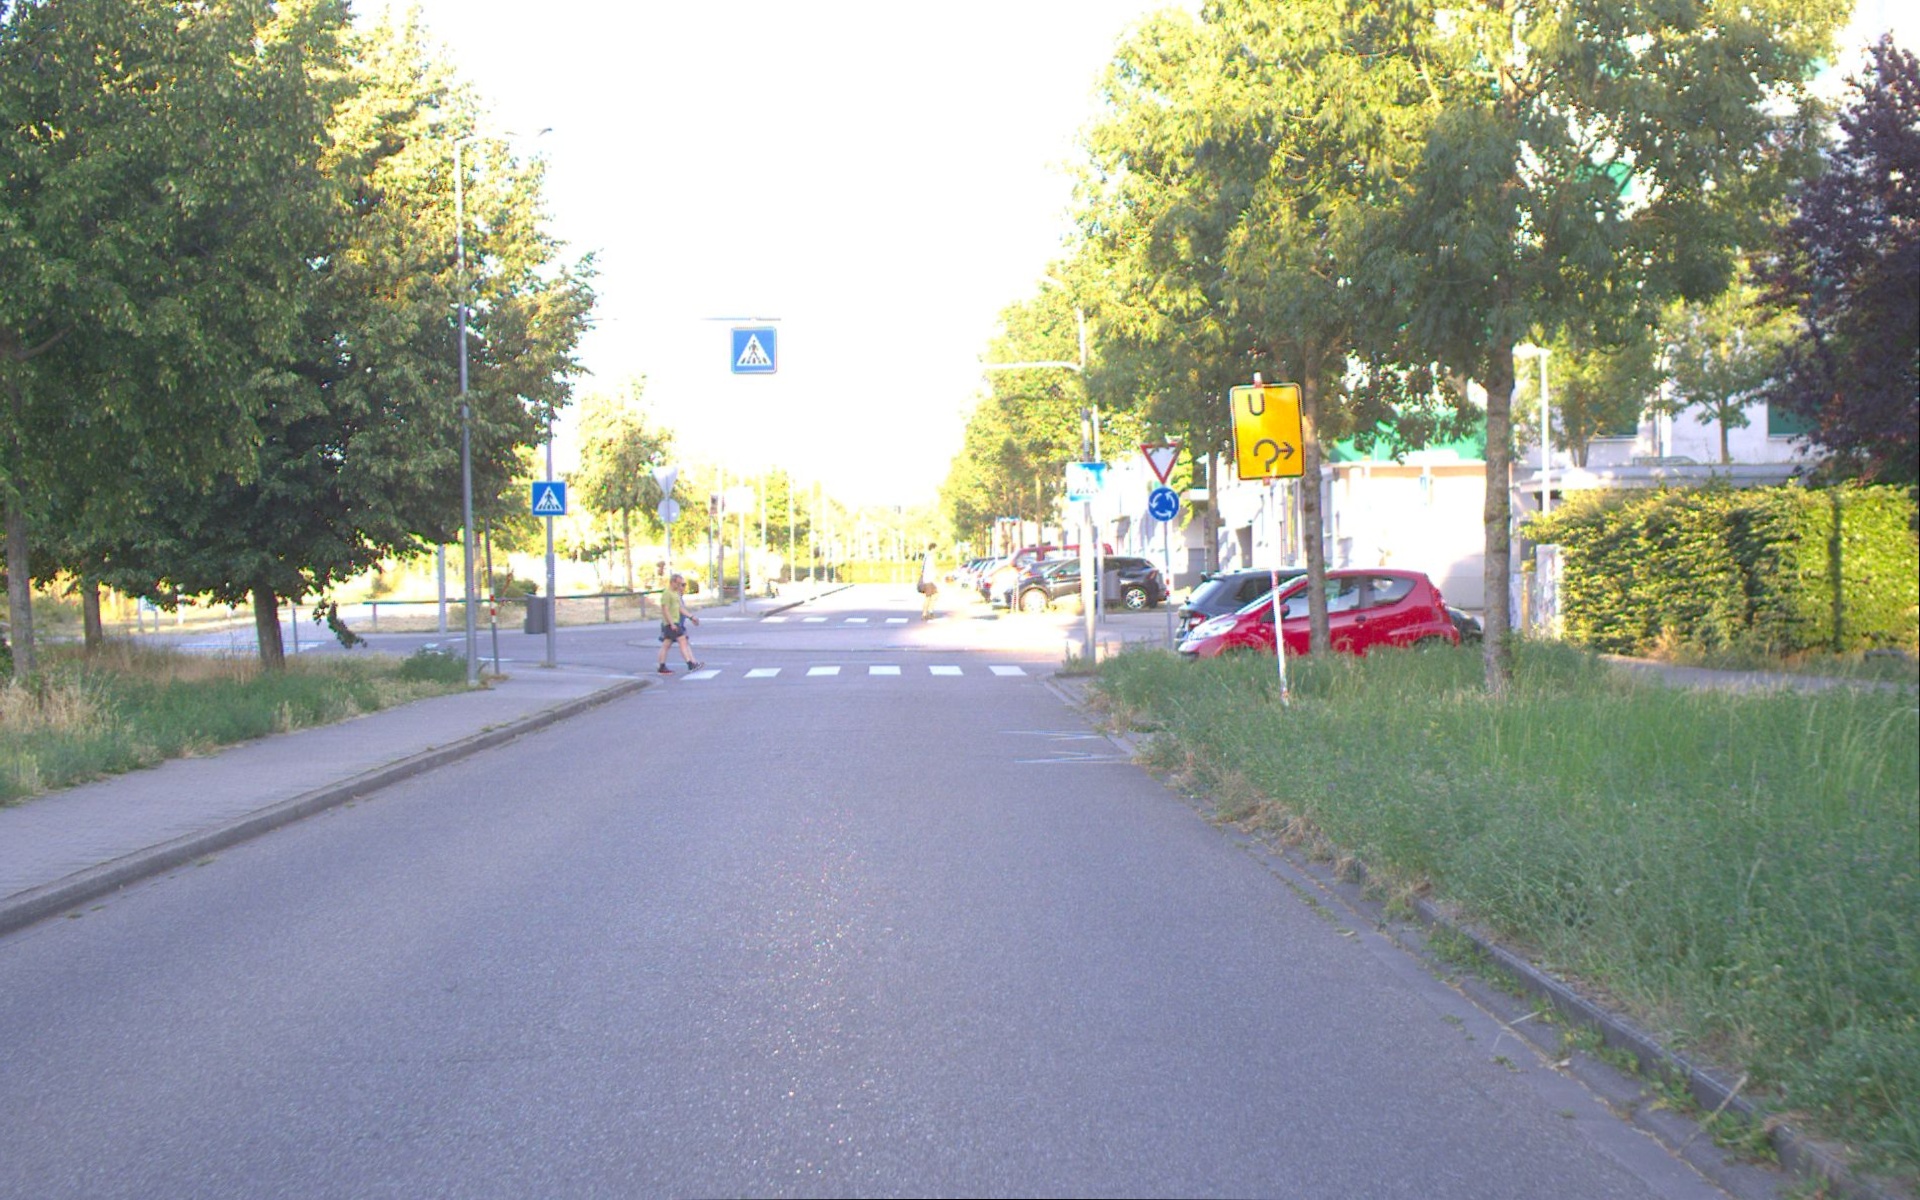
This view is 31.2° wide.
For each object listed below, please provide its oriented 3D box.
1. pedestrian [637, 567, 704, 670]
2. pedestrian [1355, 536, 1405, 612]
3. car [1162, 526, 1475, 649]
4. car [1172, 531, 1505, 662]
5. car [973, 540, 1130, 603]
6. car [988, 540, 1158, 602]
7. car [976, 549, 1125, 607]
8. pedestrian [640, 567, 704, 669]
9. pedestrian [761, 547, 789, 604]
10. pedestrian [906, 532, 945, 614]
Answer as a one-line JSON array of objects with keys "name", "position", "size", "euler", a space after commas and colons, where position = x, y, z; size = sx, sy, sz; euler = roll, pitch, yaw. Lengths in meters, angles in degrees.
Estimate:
[{"name": "pedestrian", "position": [-4.840, 0.301, 57.430], "size": [1.018, 1.687, 0.760], "euler": [-1, 1, -11]}, {"name": "pedestrian", "position": [9.851, -0.606, 80.606], "size": [1.003, 1.782, 0.762], "euler": [0, 0, -7]}, {"name": "car", "position": [4.608, -0.173, 44.552], "size": [3.802, 1.503, 1.679], "euler": [-1, 1, -2]}, {"name": "car", "position": [4.577, -0.054, 41.931], "size": [3.802, 1.503, 1.679], "euler": [-1, 1, -2]}, {"name": "car", "position": [3.056, -0.958, 115.539], "size": [5.002, 2.038, 2.251], "euler": [-1, 1, -5]}, {"name": "car", "position": [3.005, -0.776, 92.344], "size": [4.484, 1.590, 2.000], "euler": [-1, 1, 1]}, {"name": "car", "position": [2.624, -0.644, 100.253], "size": [4.263, 1.590, 2.000], "euler": [-1, 1, 1]}, {"name": "pedestrian", "position": [-4.883, 0.299, 58.225], "size": [0.983, 1.687, 0.700], "euler": [-1, 1, -12]}, {"name": "pedestrian", "position": [-6.619, -0.862, 122.697], "size": [0.866, 2.007, 0.790], "euler": [-1, 1, -11]}, {"name": "pedestrian", "position": [-0.856, -0.668, 84.968], "size": [0.846, 2.007, 0.943], "euler": [-1, 1, 5]}]
